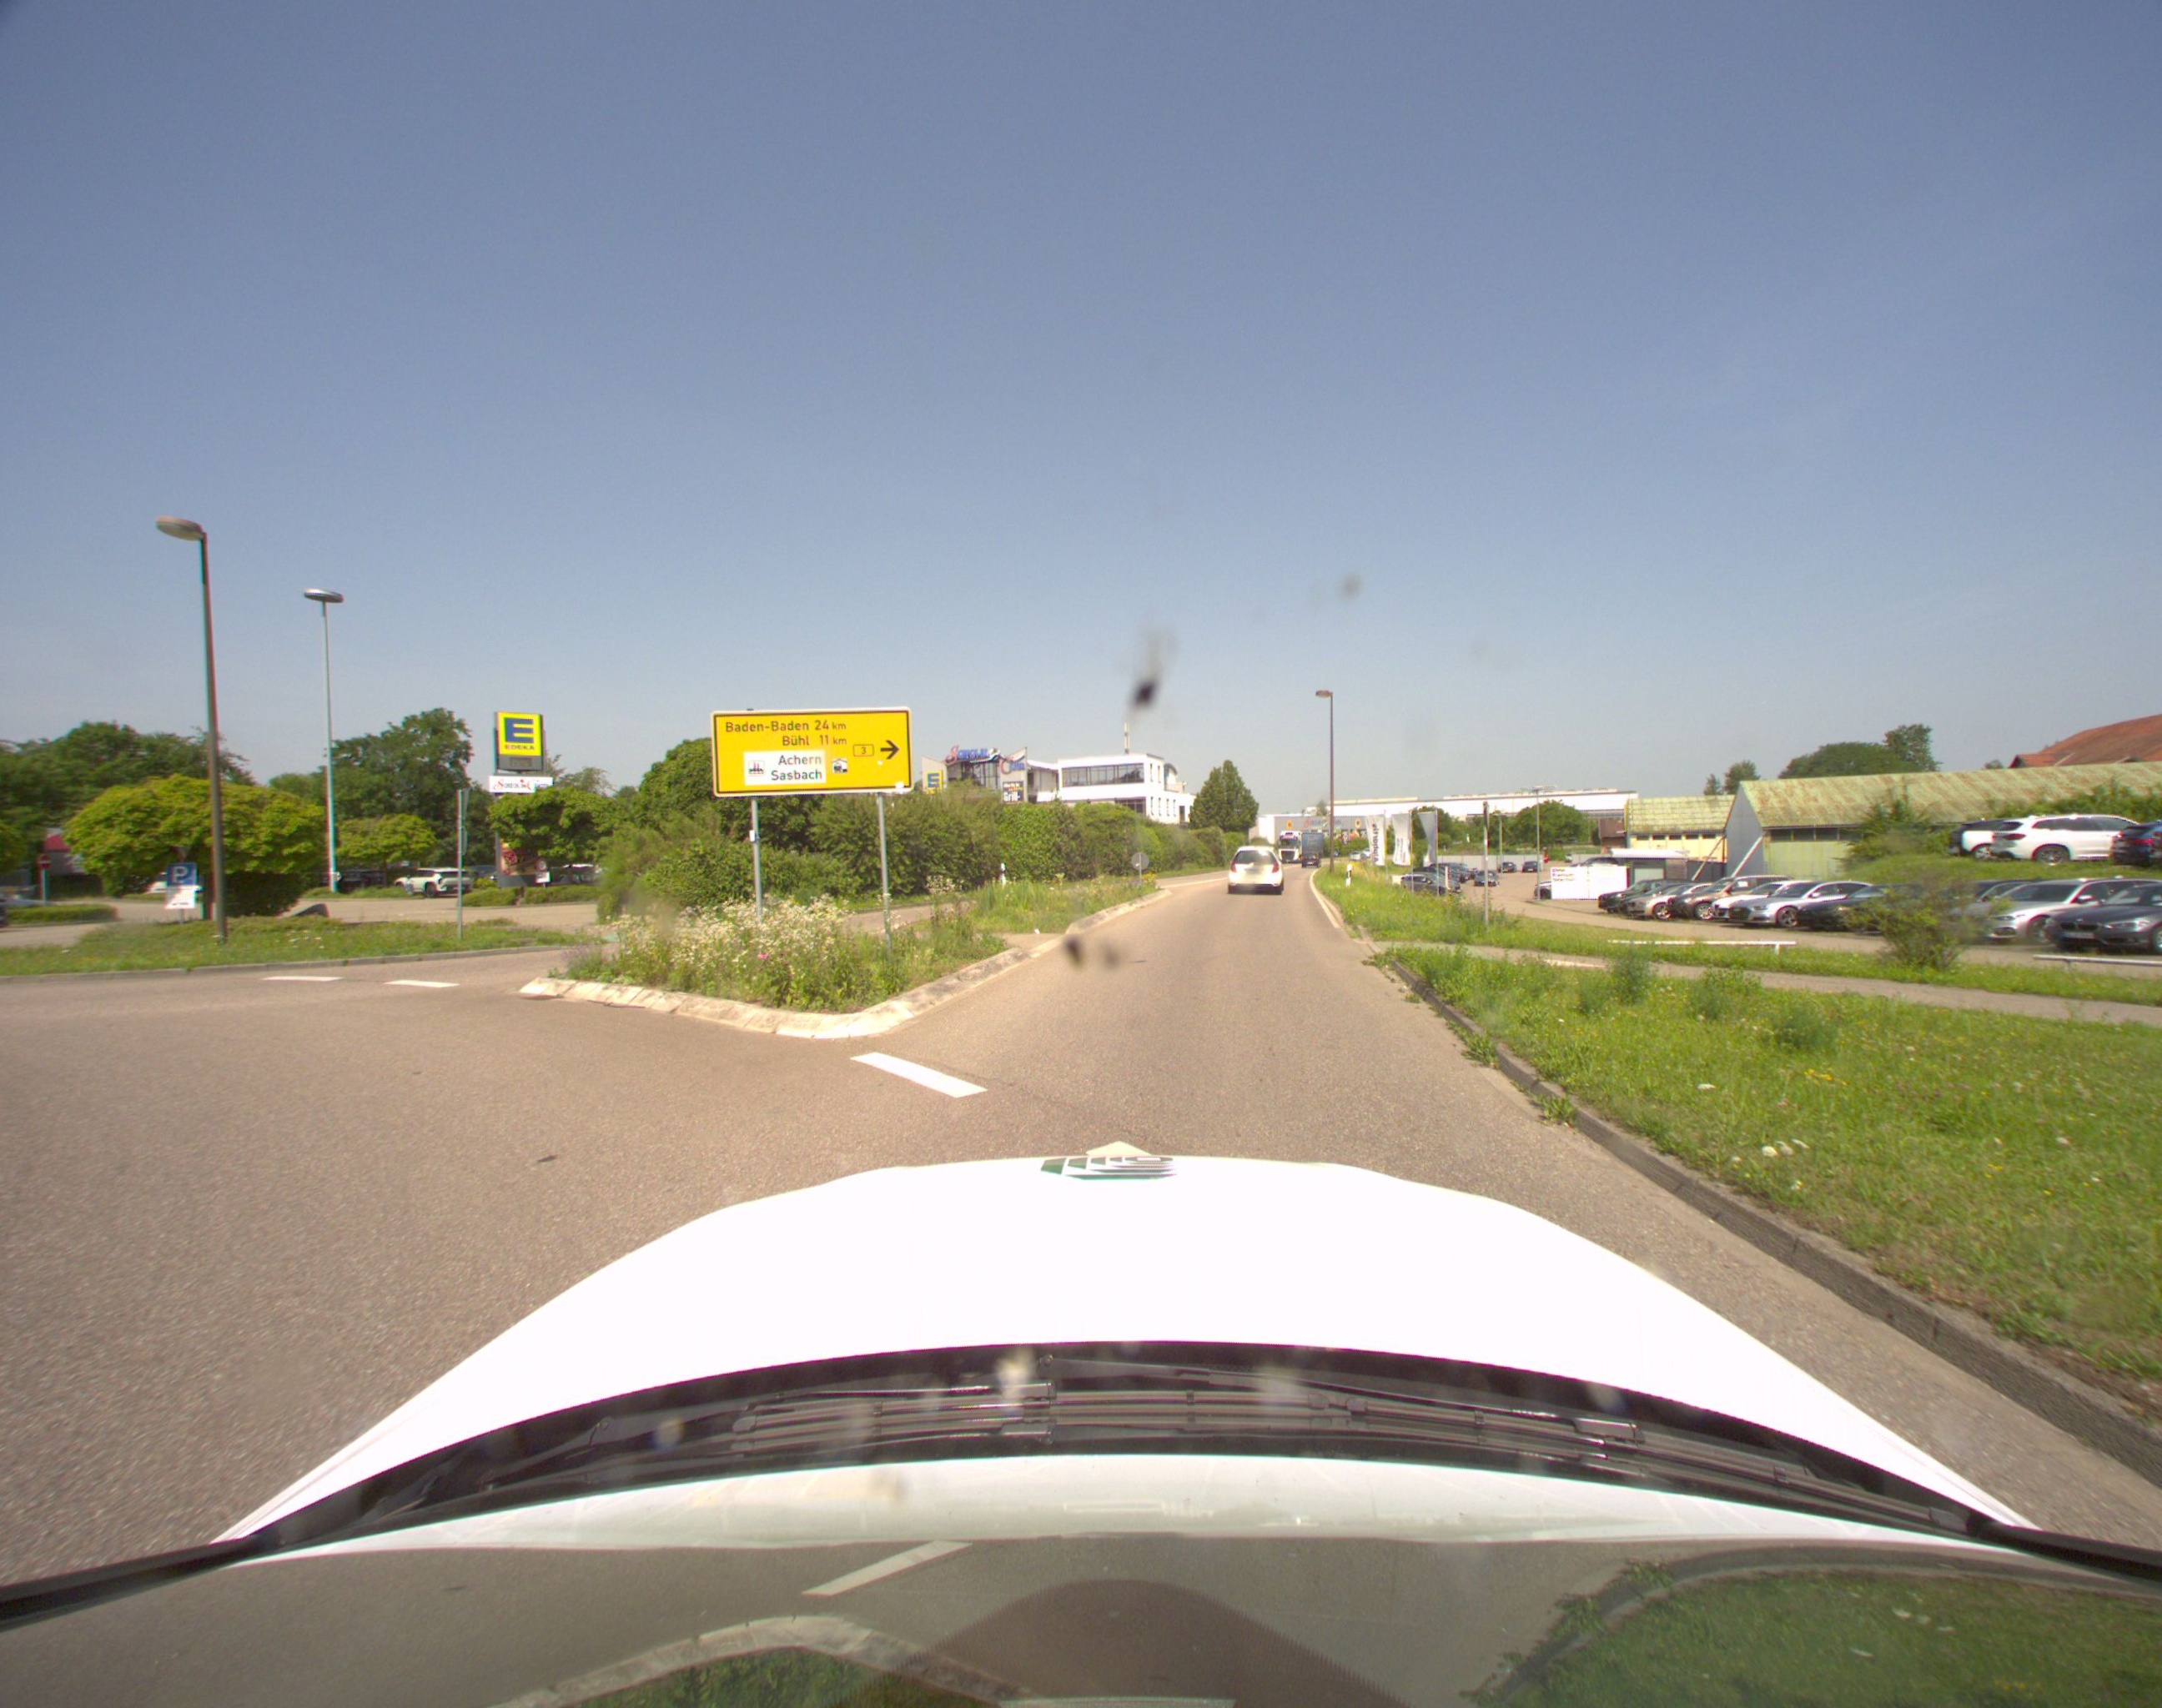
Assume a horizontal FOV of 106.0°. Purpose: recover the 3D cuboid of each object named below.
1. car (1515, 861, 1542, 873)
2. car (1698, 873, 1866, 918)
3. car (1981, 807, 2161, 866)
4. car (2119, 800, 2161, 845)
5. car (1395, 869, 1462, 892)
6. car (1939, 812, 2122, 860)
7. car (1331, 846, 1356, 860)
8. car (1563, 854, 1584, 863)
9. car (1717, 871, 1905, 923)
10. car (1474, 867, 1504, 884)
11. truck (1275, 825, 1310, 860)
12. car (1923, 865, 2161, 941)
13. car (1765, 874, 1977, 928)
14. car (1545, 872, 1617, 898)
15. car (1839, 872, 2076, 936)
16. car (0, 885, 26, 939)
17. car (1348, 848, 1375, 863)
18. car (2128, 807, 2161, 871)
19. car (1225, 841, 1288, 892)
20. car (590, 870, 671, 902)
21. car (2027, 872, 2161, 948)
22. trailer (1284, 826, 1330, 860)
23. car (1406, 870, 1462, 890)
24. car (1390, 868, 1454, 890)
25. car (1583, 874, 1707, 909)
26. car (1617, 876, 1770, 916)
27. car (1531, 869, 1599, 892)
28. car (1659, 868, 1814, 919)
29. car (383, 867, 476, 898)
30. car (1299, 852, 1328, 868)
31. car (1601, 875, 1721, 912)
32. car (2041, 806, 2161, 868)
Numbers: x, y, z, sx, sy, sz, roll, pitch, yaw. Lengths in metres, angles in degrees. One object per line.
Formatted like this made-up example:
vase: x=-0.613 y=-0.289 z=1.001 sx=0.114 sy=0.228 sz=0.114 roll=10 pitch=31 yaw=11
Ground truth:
car: x=55.093 y=1.617 z=100.203 sx=1.975 sy=1.398 sz=4.024 roll=0 pitch=0 yaw=43
car: x=25.480 y=1.513 z=29.760 sx=4.219 sy=1.465 sz=1.879 roll=-3 pitch=-3 yaw=12
car: x=32.772 y=-0.561 z=26.420 sx=4.410 sy=1.747 sz=1.851 roll=-2 pitch=0 yaw=31
car: x=39.166 y=-1.133 z=28.683 sx=1.898 sy=1.596 sz=4.332 roll=-2 pitch=0 yaw=33
car: x=25.152 y=1.910 z=59.041 sx=1.699 sy=1.523 sz=4.124 roll=0 pitch=0 yaw=-39
car: x=33.445 y=-0.602 z=28.857 sx=3.837 sy=1.532 sz=1.779 roll=-2 pitch=0 yaw=31
car: x=36.978 y=-0.132 z=114.696 sx=1.974 sy=2.013 sz=4.025 roll=0 pitch=0 yaw=41
car: x=75.156 y=0.693 z=124.223 sx=1.975 sy=1.398 sz=4.024 roll=0 pitch=0 yaw=43
car: x=24.381 y=1.444 z=27.337 sx=4.401 sy=1.465 sz=1.924 roll=-3 pitch=-3 yaw=4
car: x=37.726 y=1.961 z=75.278 sx=2.115 sy=1.457 sz=4.560 roll=0 pitch=0 yaw=31
truck: x=26.367 y=-1.390 z=101.370 sx=2.489 sy=4.257 sz=6.151 roll=-2 pitch=-1 yaw=30
car: x=23.772 y=1.153 z=19.718 sx=4.539 sy=1.566 sz=1.924 roll=-3 pitch=-3 yaw=3
car: x=24.021 y=1.444 z=24.959 sx=4.220 sy=1.413 sz=1.929 roll=-3 pitch=-3 yaw=12
car: x=33.057 y=2.029 z=53.865 sx=3.756 sy=1.523 sz=1.762 roll=0 pitch=0 yaw=45
car: x=23.976 y=1.361 z=22.417 sx=4.230 sy=1.482 sz=1.924 roll=-3 pitch=-3 yaw=3
car: x=-38.017 y=1.939 z=26.975 sx=3.964 sy=1.794 sz=2.005 roll=0 pitch=0 yaw=8
car: x=38.746 y=0.233 z=112.440 sx=4.022 sy=2.013 sz=1.976 roll=0 pitch=0 yaw=-43
car: x=31.510 y=-0.472 z=21.444 sx=4.410 sy=1.747 sz=1.962 roll=-2 pitch=0 yaw=31
car: x=6.094 y=0.380 z=28.006 sx=1.767 sy=1.603 sz=3.911 roll=1 pitch=0 yaw=17
car: x=-23.480 y=1.648 z=42.407 sx=3.948 sy=1.574 sz=2.013 roll=-1 pitch=-1 yaw=31
car: x=23.249 y=1.103 z=17.186 sx=4.546 sy=1.421 sz=1.781 roll=-3 pitch=-3 yaw=-2
trailer: x=30.229 y=-1.403 z=108.471 sx=2.645 sy=4.241 sz=14.654 roll=0 pitch=0 yaw=29
car: x=33.882 y=2.491 z=78.327 sx=1.866 sy=1.700 sz=4.590 roll=-3 pitch=2 yaw=-39
car: x=25.914 y=1.866 z=61.992 sx=1.761 sy=1.523 sz=4.121 roll=0 pitch=0 yaw=-43
car: x=27.334 y=1.797 z=39.592 sx=4.455 sy=1.640 sz=2.152 roll=0 pitch=-2 yaw=8
car: x=25.876 y=1.778 z=34.574 sx=4.735 sy=1.508 sz=2.006 roll=-3 pitch=-3 yaw=12
car: x=34.146 y=1.843 z=57.537 sx=3.919 sy=1.523 sz=1.762 roll=-1 pitch=-1 yaw=38
car: x=25.633 y=1.560 z=32.027 sx=4.220 sy=1.748 sz=2.006 roll=-3 pitch=-3 yaw=12
car: x=-34.472 y=1.468 z=43.131 sx=3.954 sy=1.516 sz=1.988 roll=0 pitch=0 yaw=19
car: x=22.442 y=0.534 z=78.588 sx=1.811 sy=1.470 sz=4.437 roll=0 pitch=0 yaw=28
car: x=26.517 y=1.816 z=37.367 sx=3.965 sy=1.552 sz=2.004 roll=-2 pitch=-3 yaw=8
car: x=32.008 y=-0.529 z=23.988 sx=4.410 sy=1.747 sz=1.851 roll=-2 pitch=0 yaw=31
